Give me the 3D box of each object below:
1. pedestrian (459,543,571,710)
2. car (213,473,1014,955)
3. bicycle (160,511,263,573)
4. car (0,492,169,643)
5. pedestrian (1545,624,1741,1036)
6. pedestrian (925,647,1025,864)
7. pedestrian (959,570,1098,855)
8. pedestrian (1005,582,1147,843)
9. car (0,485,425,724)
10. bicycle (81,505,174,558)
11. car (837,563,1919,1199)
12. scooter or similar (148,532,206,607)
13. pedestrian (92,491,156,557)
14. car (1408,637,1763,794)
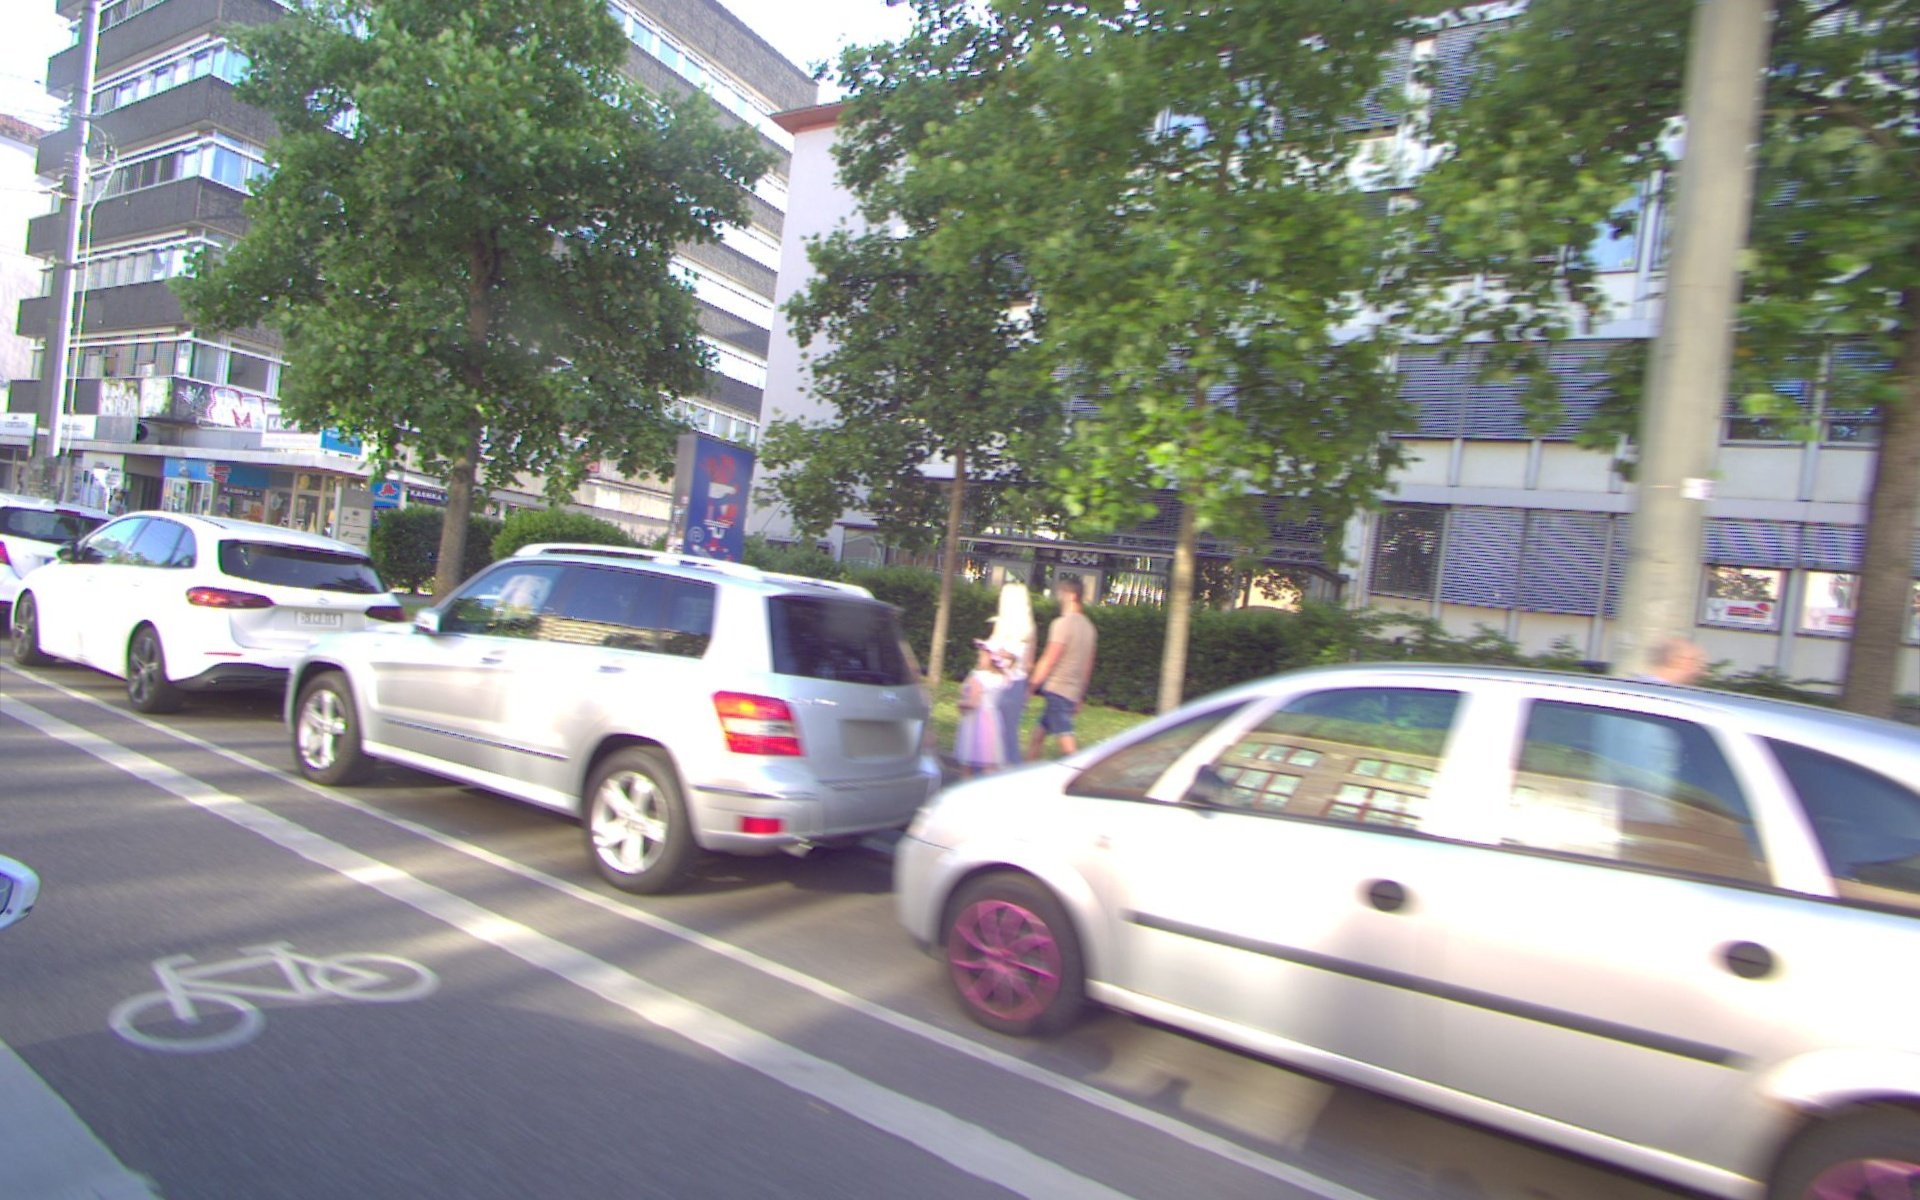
[{"bbox_3d":[-4.385,0.266,9.919,0.615,1.551,0.641,7,1,35],"label":"pedestrian"},{"bbox_3d":[-2.259,0.433,6.246,4.631,1.855,1.930,7,-2,29],"label":"car"},{"bbox_3d":[-16.809,-1.294,22.636,0.569,1.154,1.681,6,-1,35],"label":"bicycle"},{"bbox_3d":[-11.137,-0.482,11.690,3.818,1.460,1.606,6,-2,29],"label":"car"},{"bbox_3d":[3.375,1.073,4.988,0.593,1.830,0.611,7,1,36],"label":"pedestrian"},{"bbox_3d":[0.107,1.063,7.064,0.416,1.417,0.455,7,4,36],"label":"pedestrian"},{"bbox_3d":[0.506,0.801,7.514,0.736,1.981,0.464,7,4,37],"label":"pedestrian"},{"bbox_3d":[0.927,0.861,8.073,0.736,1.923,0.667,7,4,37],"label":"pedestrian"},{"bbox_3d":[-6.860,-0.019,8.889,4.368,1.588,1.545,6,-2,30],"label":"car"},{"bbox_3d":[-24.167,-1.958,29.272,0.790,1.233,2.183,7,-2,-1],"label":"bicycle"},{"bbox_3d":[1.739,0.947,3.802,3.996,1.608,1.718,7,-2,30],"label":"car"},{"bbox_3d":[-13.938,-0.547,17.896,1.339,1.252,0.536,6,5,40],"label":"scooter or similar"},{"bbox_3d":[-24.677,-2.224,29.712,1.147,1.748,1.034,9,-2,-34],"label":"pedestrian"},{"bbox_3d":[9.333,1.676,15.426,4.235,1.555,1.793,8,0,29],"label":"car"}]
